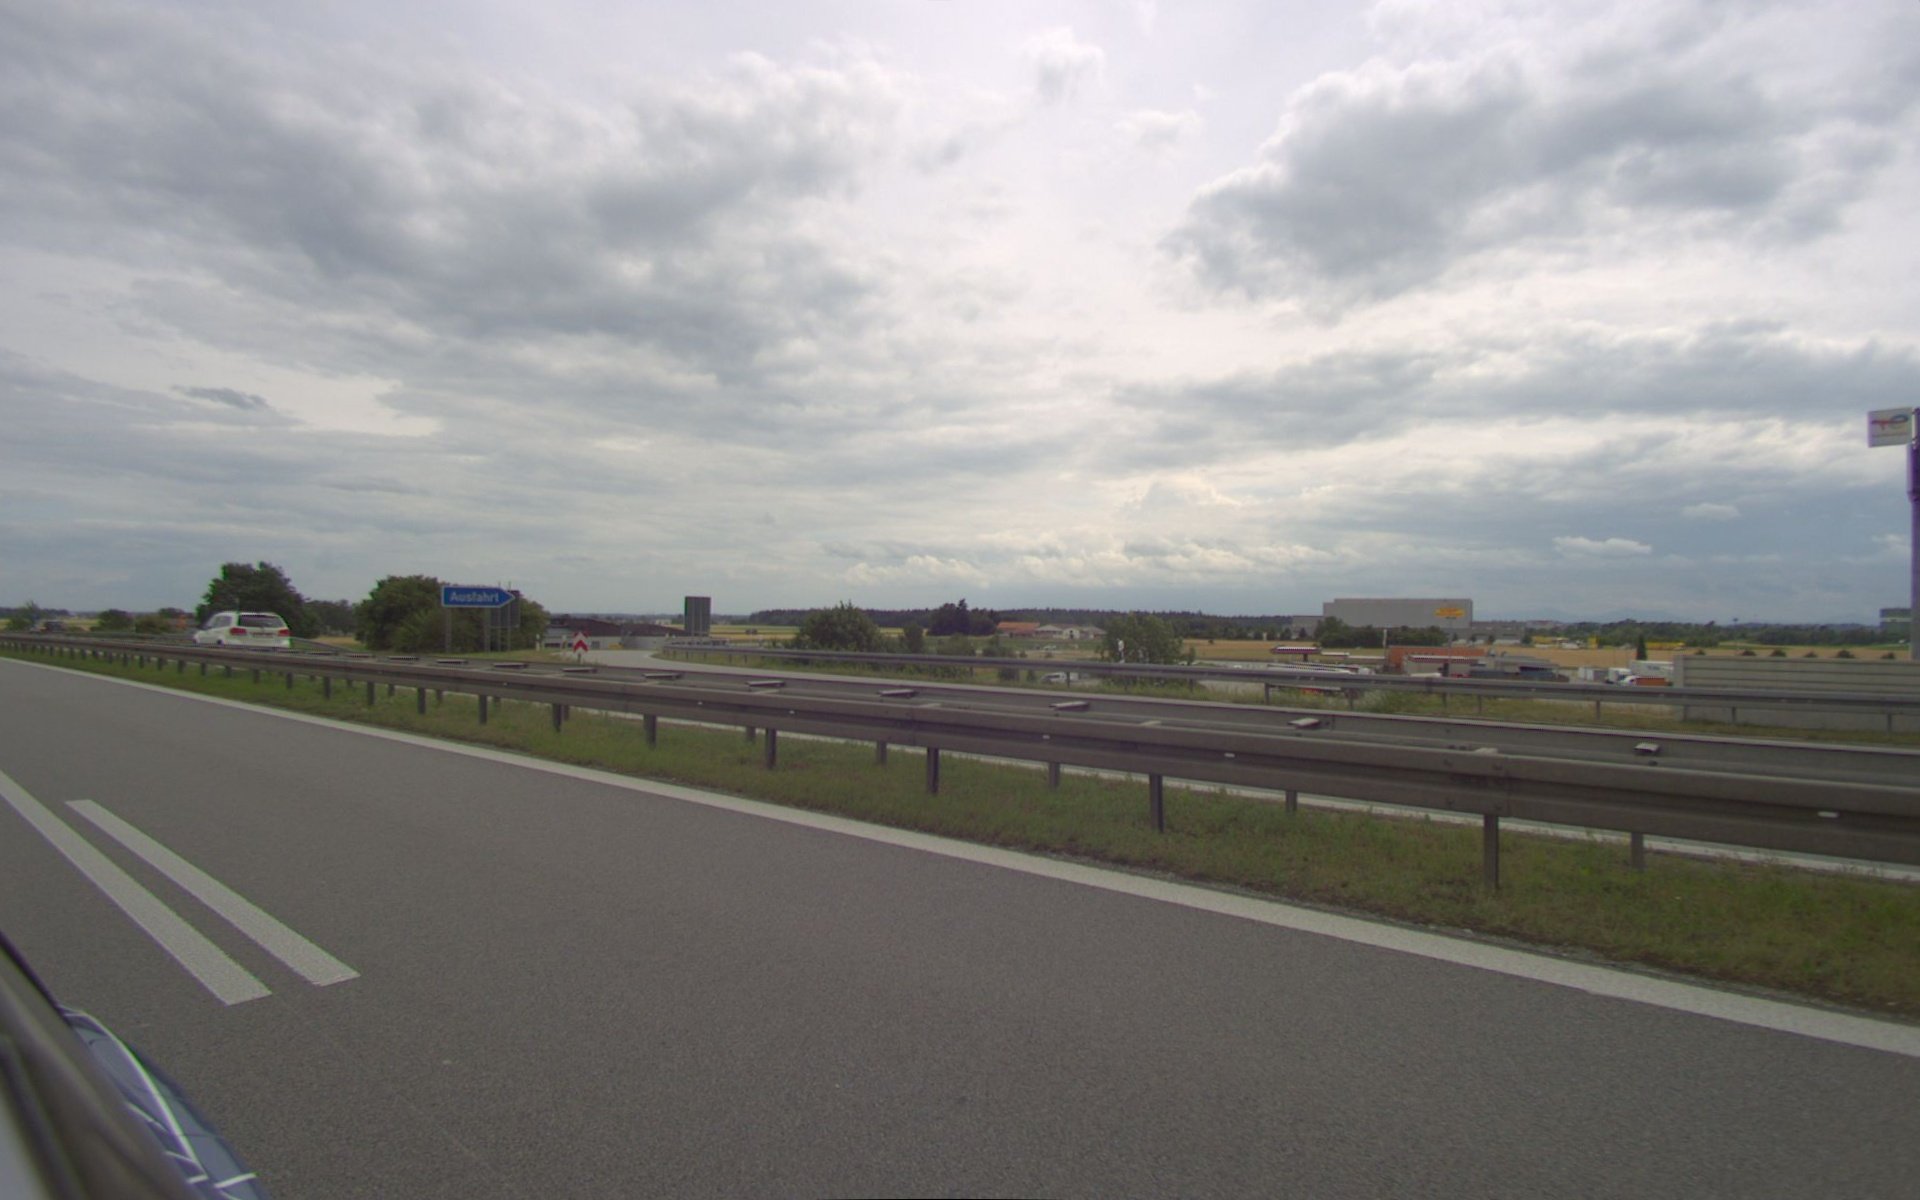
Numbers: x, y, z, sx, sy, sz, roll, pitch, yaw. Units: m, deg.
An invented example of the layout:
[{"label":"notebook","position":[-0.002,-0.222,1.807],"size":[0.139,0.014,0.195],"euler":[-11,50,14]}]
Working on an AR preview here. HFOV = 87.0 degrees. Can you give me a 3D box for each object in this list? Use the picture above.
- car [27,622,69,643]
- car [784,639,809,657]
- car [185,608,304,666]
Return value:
[{"label":"car","position":[-67.314,2.400,74.710],"size":[3.997,1.404,1.782],"euler":[-2,-1,40]},{"label":"car","position":[-20.395,5.992,126.191],"size":[1.977,2.029,3.989],"euler":[-1,-1,9]},{"label":"car","position":[-23.813,1.269,33.618],"size":[4.957,1.759,2.049],"euler":[-2,-5,41]}]
